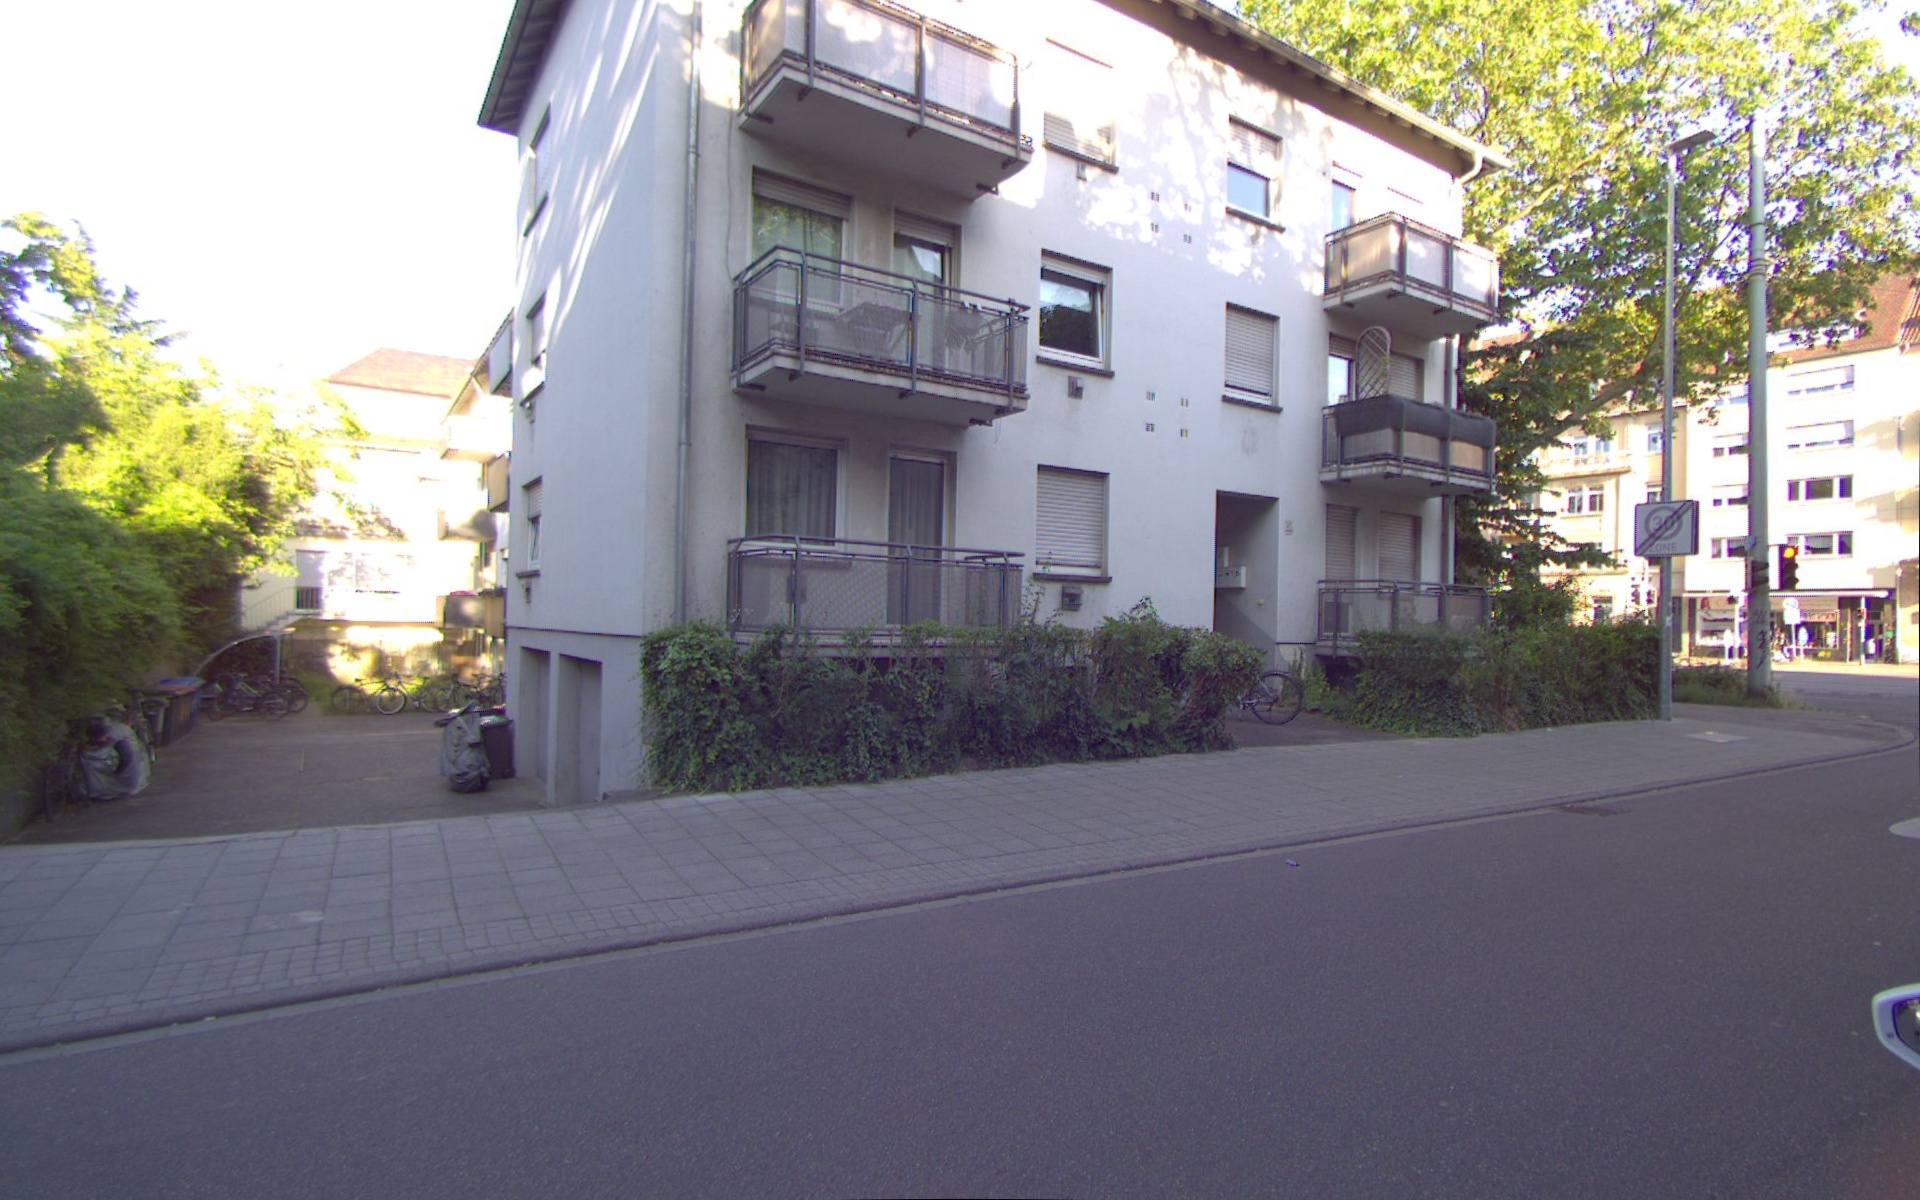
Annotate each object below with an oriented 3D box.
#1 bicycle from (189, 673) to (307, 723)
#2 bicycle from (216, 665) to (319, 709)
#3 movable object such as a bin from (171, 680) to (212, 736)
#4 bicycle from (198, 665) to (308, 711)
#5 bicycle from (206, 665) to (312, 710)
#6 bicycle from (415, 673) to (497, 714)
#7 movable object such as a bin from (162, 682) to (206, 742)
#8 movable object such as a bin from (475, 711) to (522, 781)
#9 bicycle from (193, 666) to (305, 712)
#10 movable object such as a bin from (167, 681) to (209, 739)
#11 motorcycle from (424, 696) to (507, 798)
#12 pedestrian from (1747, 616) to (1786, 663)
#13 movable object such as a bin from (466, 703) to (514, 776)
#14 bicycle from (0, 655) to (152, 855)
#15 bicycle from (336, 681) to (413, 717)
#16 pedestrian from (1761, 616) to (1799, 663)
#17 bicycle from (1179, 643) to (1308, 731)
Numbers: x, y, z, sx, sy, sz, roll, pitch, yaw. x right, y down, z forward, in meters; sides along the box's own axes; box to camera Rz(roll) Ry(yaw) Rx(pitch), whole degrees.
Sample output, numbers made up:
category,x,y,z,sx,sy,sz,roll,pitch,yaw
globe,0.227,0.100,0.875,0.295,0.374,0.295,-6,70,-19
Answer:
category,x,y,z,sx,sy,sz,roll,pitch,yaw
bicycle,-17.334,2.379,24.531,2.268,1.148,0.689,2,-4,-30
bicycle,-19.641,2.446,28.546,2.311,1.192,0.689,2,-4,-30
movable object such as a bin,-16.361,2.285,21.390,0.606,1.129,0.795,1,-3,-33
bicycle,-19.024,2.348,27.096,2.311,1.192,0.689,2,-4,-30
bicycle,-19.370,2.395,27.821,2.311,1.192,0.689,2,-4,-30
bicycle,-13.910,2.570,27.750,1.982,1.085,0.561,2,-4,-30
movable object such as a bin,-15.487,2.224,20.058,0.606,1.129,0.795,1,-3,-33
movable object such as a bin,-7.400,2.328,16.094,0.606,1.051,0.534,1,-3,-34
bicycle,-18.598,2.321,26.350,2.311,1.148,0.689,2,-4,-30
movable object such as a bin,-15.928,2.256,20.729,0.606,1.129,0.795,1,-3,-33
motorcycle,-7.403,2.153,15.012,0.739,1.313,1.563,2,-2,-41
pedestrian,43.432,2.104,54.099,1.049,2.497,1.338,1,0,-34
movable object such as a bin,-7.915,2.328,16.906,0.606,1.129,0.795,1,-3,-33
bicycle,-10.600,1.658,11.983,0.961,1.917,4.156,1,-2,-32
bicycle,-15.564,2.622,26.750,1.734,0.890,0.561,2,-4,-30
pedestrian,44.531,2.152,54.581,1.049,2.497,1.338,1,0,-34
bicycle,3.830,1.154,13.574,1.590,1.022,0.517,3,1,20
